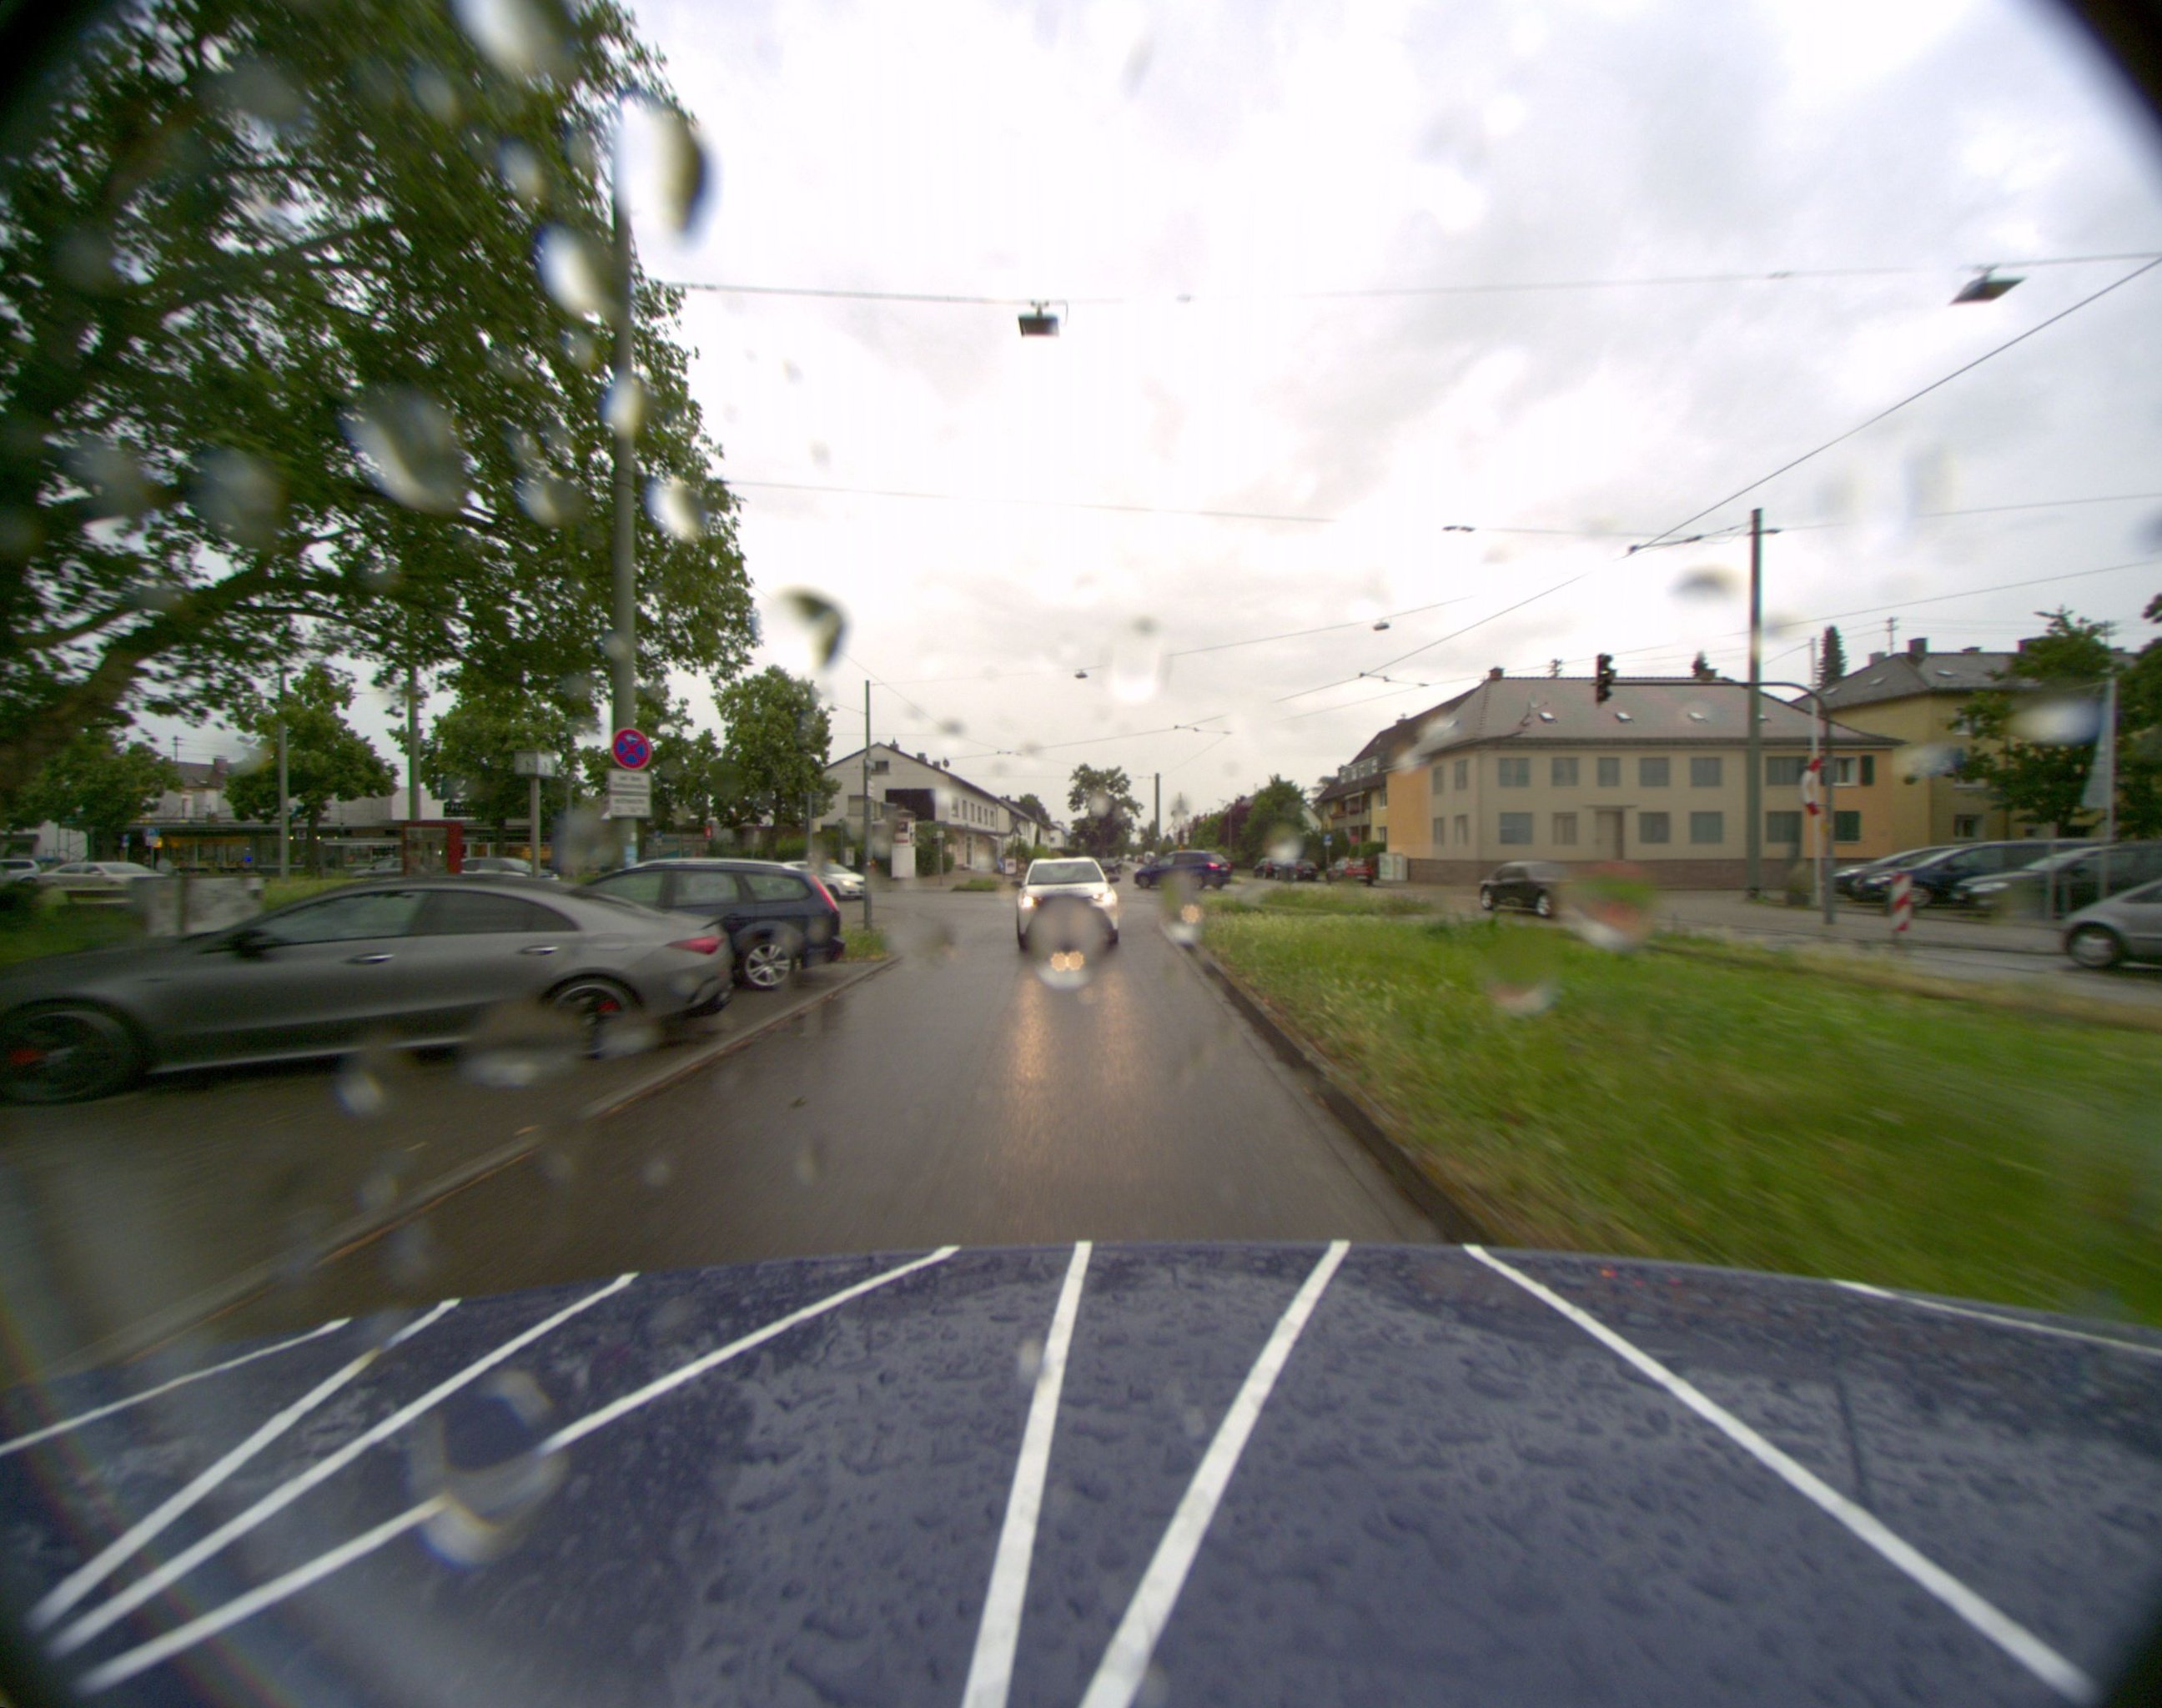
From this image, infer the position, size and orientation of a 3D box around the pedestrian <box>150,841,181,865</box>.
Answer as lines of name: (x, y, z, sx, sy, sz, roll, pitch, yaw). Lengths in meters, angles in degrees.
pedestrian: (-63.997, -0.072, 53.102, 0.946, 1.704, 1.081, 1, 1, 14)

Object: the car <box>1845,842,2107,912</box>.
car: (21.859, 0.539, 18.825, 3.861, 1.569, 1.811, 0, 0, 34)

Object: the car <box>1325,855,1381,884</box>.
car: (14.864, 0.818, 41.774, 1.722, 1.331, 3.615, 0, 2, -1)

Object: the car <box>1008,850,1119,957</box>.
car: (-0.282, 0.788, 14.083, 1.719, 1.614, 3.714, -2, 1, 0)

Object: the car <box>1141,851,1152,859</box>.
car: (14.613, 0.236, 169.645, 1.998, 1.784, 3.998, 0, 2, 0)

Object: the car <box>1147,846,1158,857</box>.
car: (13.879, -0.427, 147.702, 1.998, 2.023, 3.999, 0, 2, 2)

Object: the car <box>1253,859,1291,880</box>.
car: (14.246, 1.137, 56.957, 1.759, 1.325, 3.998, 0, 2, -1)

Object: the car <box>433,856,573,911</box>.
car: (-22.869, 1.141, 30.195, 3.996, 2.003, 1.999, 0, 2, 2)

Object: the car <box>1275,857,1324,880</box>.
car: (14.561, 0.952, 50.897, 1.966, 1.388, 4.504, 0, 0, 0)

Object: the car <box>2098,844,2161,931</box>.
car: (21.305, 0.615, 13.120, 4.047, 1.496, 1.836, 1, 3, 30)

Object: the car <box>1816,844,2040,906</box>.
car: (23.382, 0.558, 21.220, 3.861, 1.569, 1.811, 0, 0, 34)

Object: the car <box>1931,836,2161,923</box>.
car: (21.296, 0.510, 16.110, 3.988, 1.707, 2.004, 0, 0, 34)

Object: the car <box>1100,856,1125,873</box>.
car: (3.099, 0.957, 73.211, 1.787, 1.454, 4.002, 0, 2, 12)

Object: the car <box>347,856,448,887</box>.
car: (-36.234, 0.901, 40.359, 3.625, 1.495, 1.549, -1, 3, -15)

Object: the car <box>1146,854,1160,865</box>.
car: (12.205, 0.904, 129.770, 1.998, 1.784, 3.998, 0, 2, 0)

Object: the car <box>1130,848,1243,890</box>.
car: (4.600, 0.605, 33.525, 4.558, 1.596, 2.004, 2, 3, 42)

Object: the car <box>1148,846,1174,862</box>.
car: (7.428, 0.028, 70.511, 1.998, 1.467, 4.000, 0, 0, 0)

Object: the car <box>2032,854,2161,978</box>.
car: (14.346, 0.820, 8.950, 1.721, 1.496, 3.643, 0, 2, 2)

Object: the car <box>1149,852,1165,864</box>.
car: (11.759, 0.620, 117.380, 1.998, 1.784, 3.998, 0, 2, 0)

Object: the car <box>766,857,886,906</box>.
car: (-9.488, 0.963, 28.240, 3.989, 1.544, 1.967, 2, 1, 26)

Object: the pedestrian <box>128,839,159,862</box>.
pedestrian: (-65.944, -0.247, 53.454, 0.946, 1.575, 1.081, 1, 1, 14)

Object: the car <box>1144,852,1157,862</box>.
car: (12.767, 0.528, 140.479, 1.998, 1.784, 3.998, 0, 2, 0)

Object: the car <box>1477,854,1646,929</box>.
car: (11.514, 0.827, 18.571, 1.740, 1.478, 3.999, 0, 2, 3)

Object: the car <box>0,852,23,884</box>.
car: (-57.997, 0.784, 38.976, 1.792, 1.664, 3.947, -1, 2, 2)

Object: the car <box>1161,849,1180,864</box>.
car: (11.896, 0.292, 101.464, 1.998, 1.784, 3.998, 0, 2, 0)

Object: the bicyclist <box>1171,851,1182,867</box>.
bicyclist: (10.035, 0.520, 79.765, 0.949, 1.588, 1.042, 0, 0, 0)

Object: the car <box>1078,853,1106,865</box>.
car: (1.613, 0.722, 109.867, 3.997, 1.673, 1.999, 0, 2, 0)

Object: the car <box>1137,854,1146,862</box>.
car: (15.043, 0.986, 188.786, 1.998, 1.784, 3.998, 0, 2, 0)

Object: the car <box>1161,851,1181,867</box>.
car: (11.129, 0.578, 94.002, 1.998, 1.784, 3.998, 0, 2, 0)

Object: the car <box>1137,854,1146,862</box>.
car: (15.464, 1.063, 193.640, 1.998, 1.784, 3.998, 0, 2, 0)

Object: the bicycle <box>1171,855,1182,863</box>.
bicycle: (10.040, 0.536, 79.753, 0.942, 0.782, 1.820, 0, -1, 0)

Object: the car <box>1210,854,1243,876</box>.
car: (13.454, 0.968, 70.501, 1.999, 1.784, 3.996, 0, 2, -6)

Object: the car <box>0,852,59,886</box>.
car: (-55.583, 0.797, 38.369, 1.998, 1.664, 4.337, -1, 2, 2)

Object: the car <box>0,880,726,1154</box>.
car: (-5.316, 1.003, 5.901, 4.556, 1.467, 1.800, 0, 0, -27)

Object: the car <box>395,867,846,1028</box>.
car: (-5.135, 0.923, 9.045, 4.183, 1.467, 1.800, 0, 0, -28)

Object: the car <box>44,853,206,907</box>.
car: (-38.124, 1.004, 30.374, 3.996, 2.003, 1.999, 0, 3, 3)

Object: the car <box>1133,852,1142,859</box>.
car: (15.347, 0.327, 206.575, 1.998, 1.784, 3.998, 0, 2, 0)
